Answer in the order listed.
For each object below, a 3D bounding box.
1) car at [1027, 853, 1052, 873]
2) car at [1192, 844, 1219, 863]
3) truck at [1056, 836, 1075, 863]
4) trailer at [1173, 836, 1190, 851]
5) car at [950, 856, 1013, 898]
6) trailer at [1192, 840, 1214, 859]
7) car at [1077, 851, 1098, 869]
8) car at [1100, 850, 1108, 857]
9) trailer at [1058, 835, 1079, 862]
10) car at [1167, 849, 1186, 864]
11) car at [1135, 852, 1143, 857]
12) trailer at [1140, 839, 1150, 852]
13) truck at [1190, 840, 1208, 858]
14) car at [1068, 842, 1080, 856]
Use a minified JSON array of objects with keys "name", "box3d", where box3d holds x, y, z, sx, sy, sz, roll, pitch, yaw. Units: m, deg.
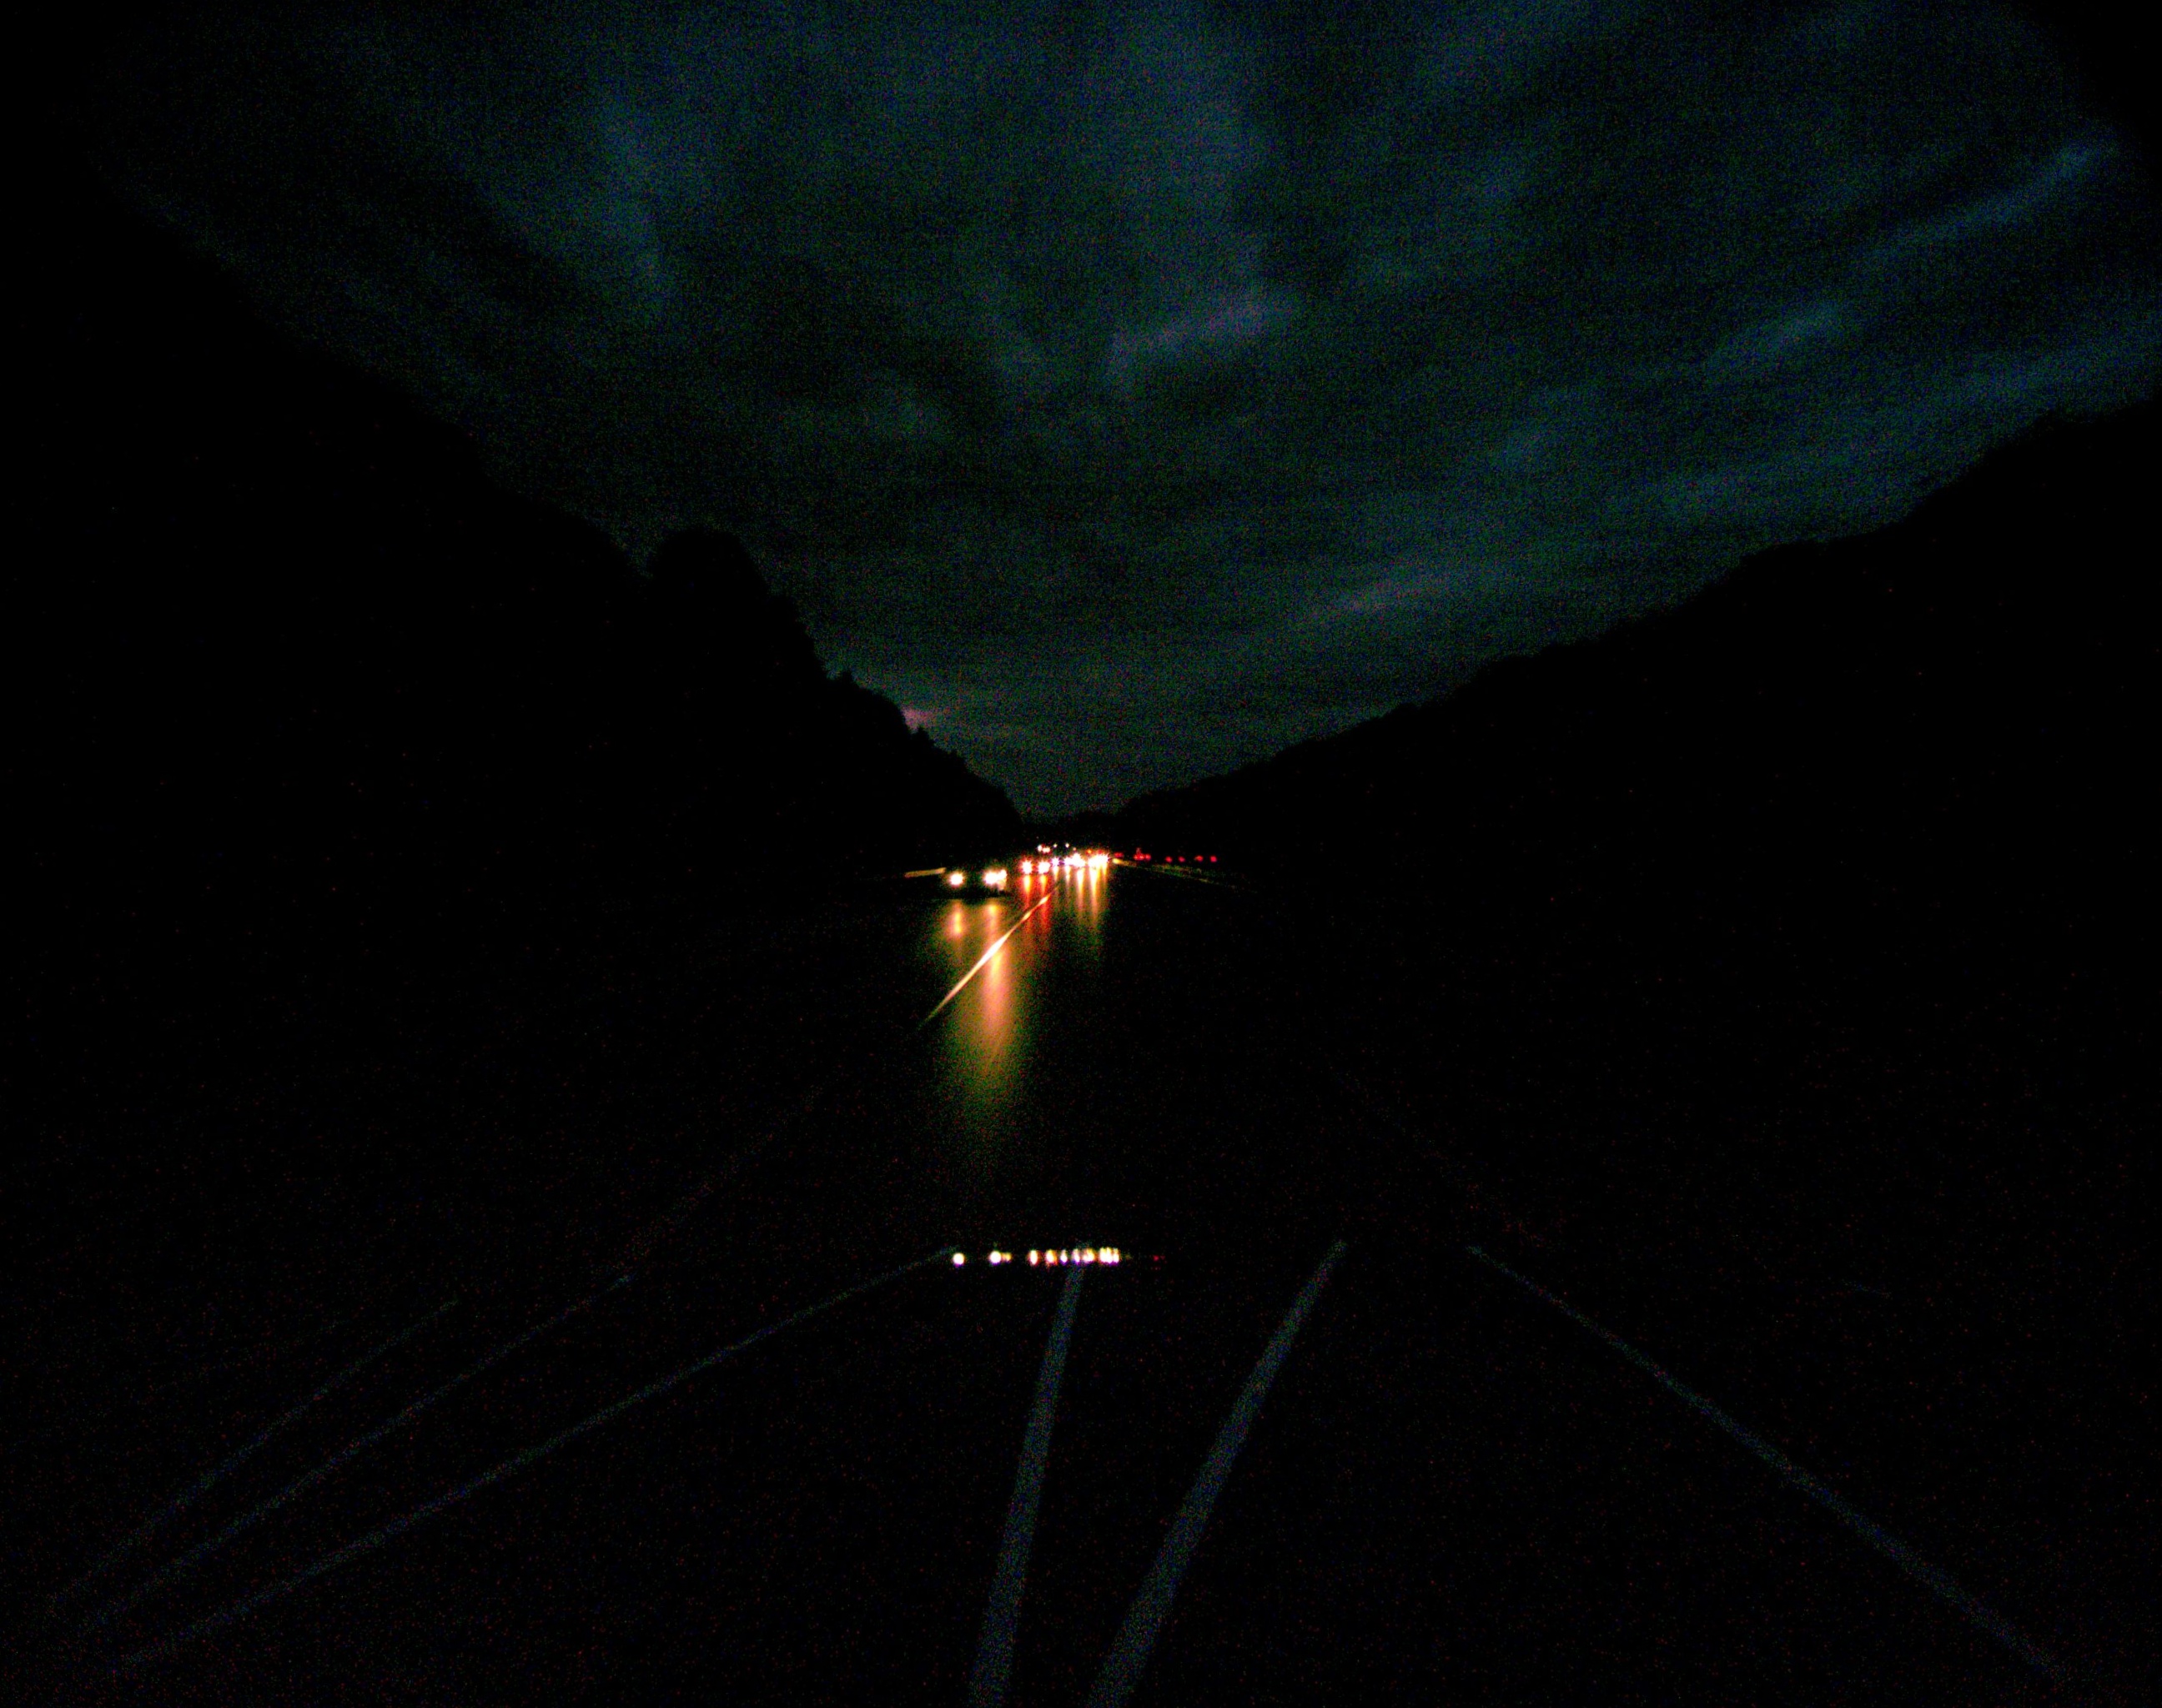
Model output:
[{"name":"car","box3d":[-3.426,0.818,63.431,1.695,1.480,4.951,-2,-2,2]},{"name":"car","box3d":[16.589,-0.065,101.374,2.319,2.469,7.518,0,0,-1]},{"name":"truck","box3d":[-2.420,-0.759,121.188,2.497,3.946,5.590,-1,2,3]},{"name":"trailer","box3d":[28.527,-3.044,215.702,3.199,4.081,13.738,-1,1,1]},{"name":"car","box3d":[-3.908,0.860,30.569,1.870,1.427,4.583,-2,1,0]},{"name":"trailer","box3d":[28.071,-1.156,175.135,3.198,4.081,14.182,-1,1,2]},{"name":"car","box3d":[0.714,0.620,82.031,1.869,1.701,4.584,-2,1,4]},{"name":"car","box3d":[5.574,-0.160,184.667,1.695,1.481,4.948,0,1,1]},{"name":"trailer","box3d":[-1.974,-1.015,128.504,2.488,4.050,13.504,-1,2,4]},{"name":"car","box3d":[12.805,0.306,101.854,1.998,2.002,5.360,0,0,2]},{"name":"car","box3d":[16.213,0.151,212.666,1.885,1.565,4.654,0,0,0]},{"name":"trailer","box3d":[20.283,-2.595,240.633,2.653,3.908,10.185,-1,0,1]},{"name":"truck","box3d":[28.111,-1.233,181.331,3.198,4.081,7.688,-1,1,2]},{"name":"car","box3d":[-1.914,-1.310,208.778,2.998,3.660,9.998,-1,1,1]}]
